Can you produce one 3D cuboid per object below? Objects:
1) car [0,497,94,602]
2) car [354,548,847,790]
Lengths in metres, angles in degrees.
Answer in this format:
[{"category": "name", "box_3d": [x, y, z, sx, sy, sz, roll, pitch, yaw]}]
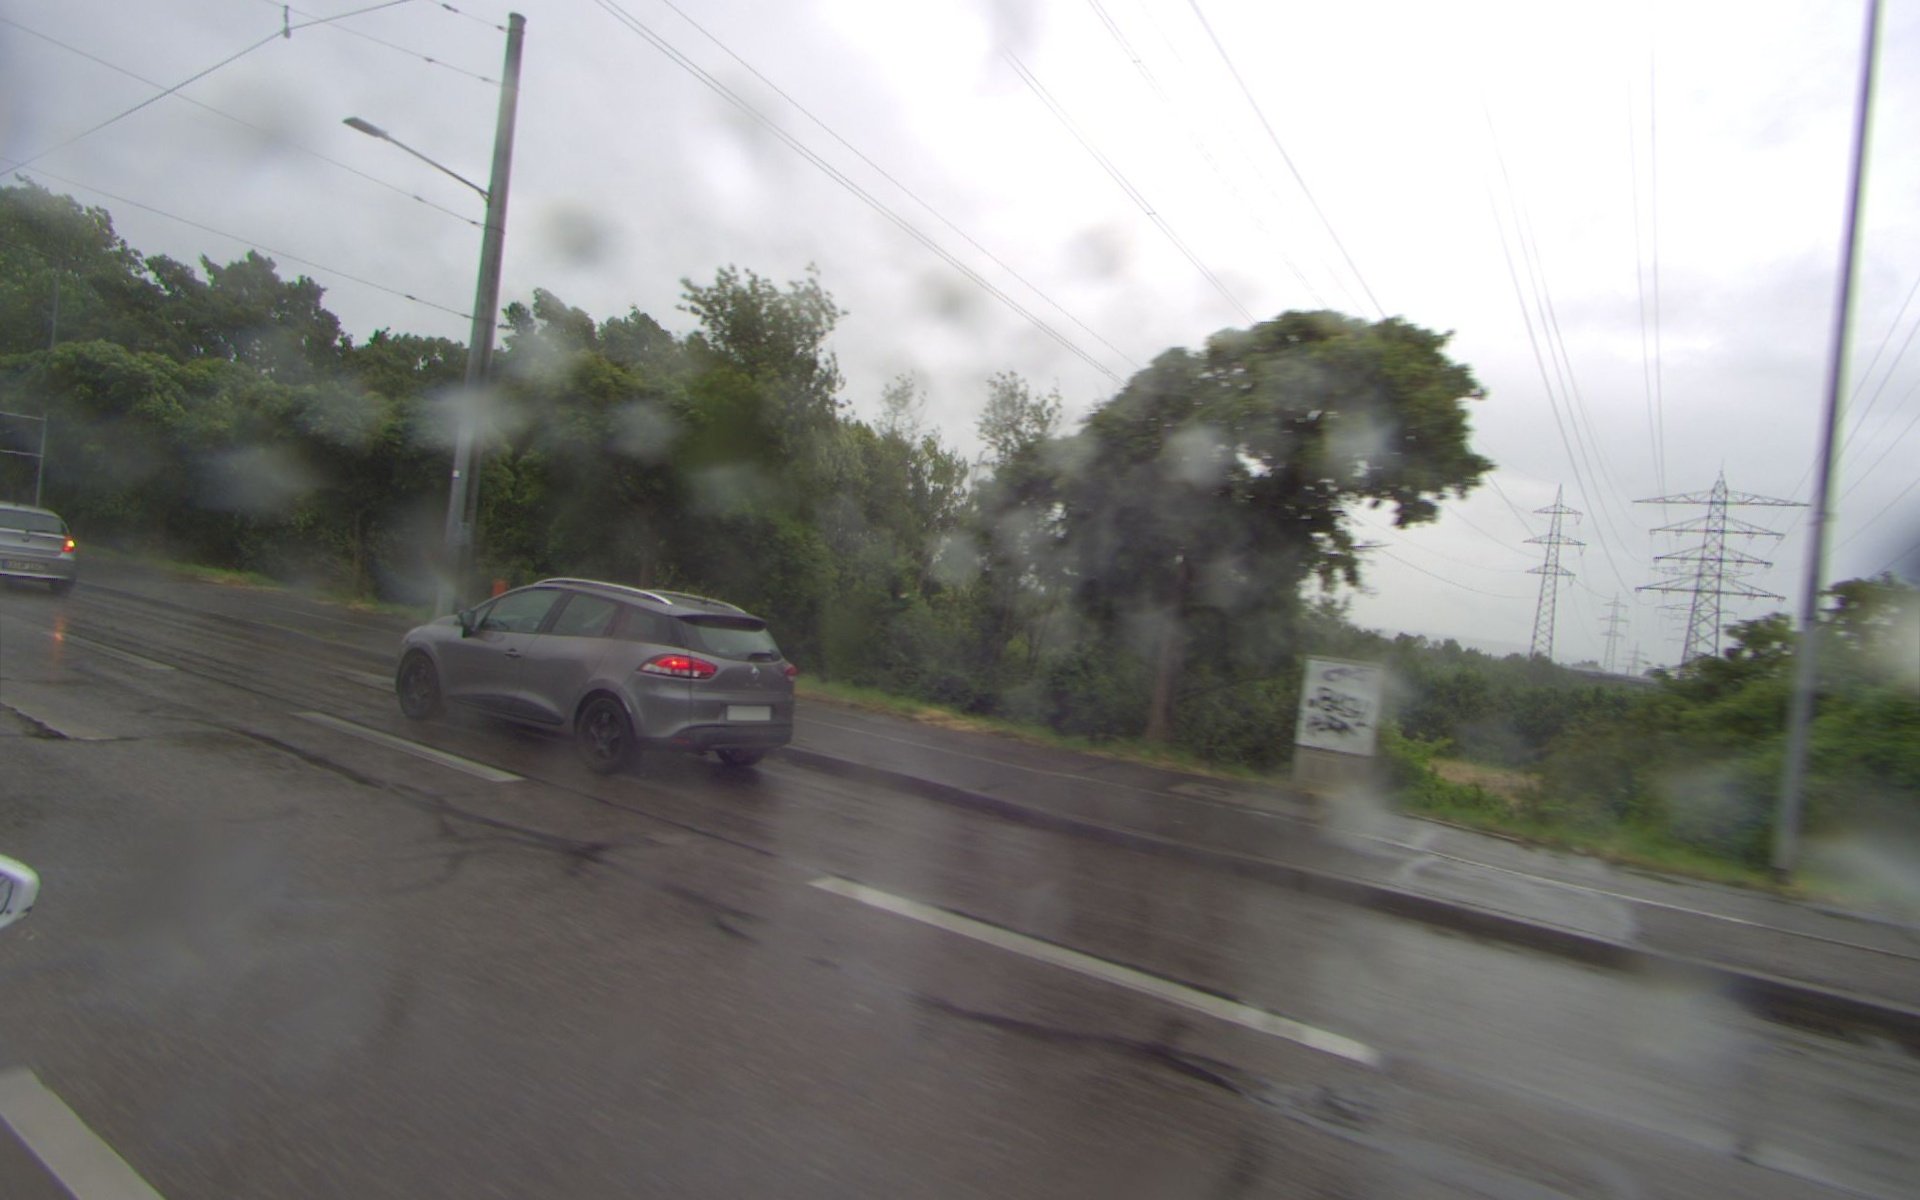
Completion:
[{"category": "car", "box_3d": [-16.975, -1.060, 17.330, 4.528, 1.520, 1.630, 8, -1, 31]}, {"category": "car", "box_3d": [-3.321, 0.532, 9.056, 4.207, 1.372, 1.891, 8, -2, 33]}]
